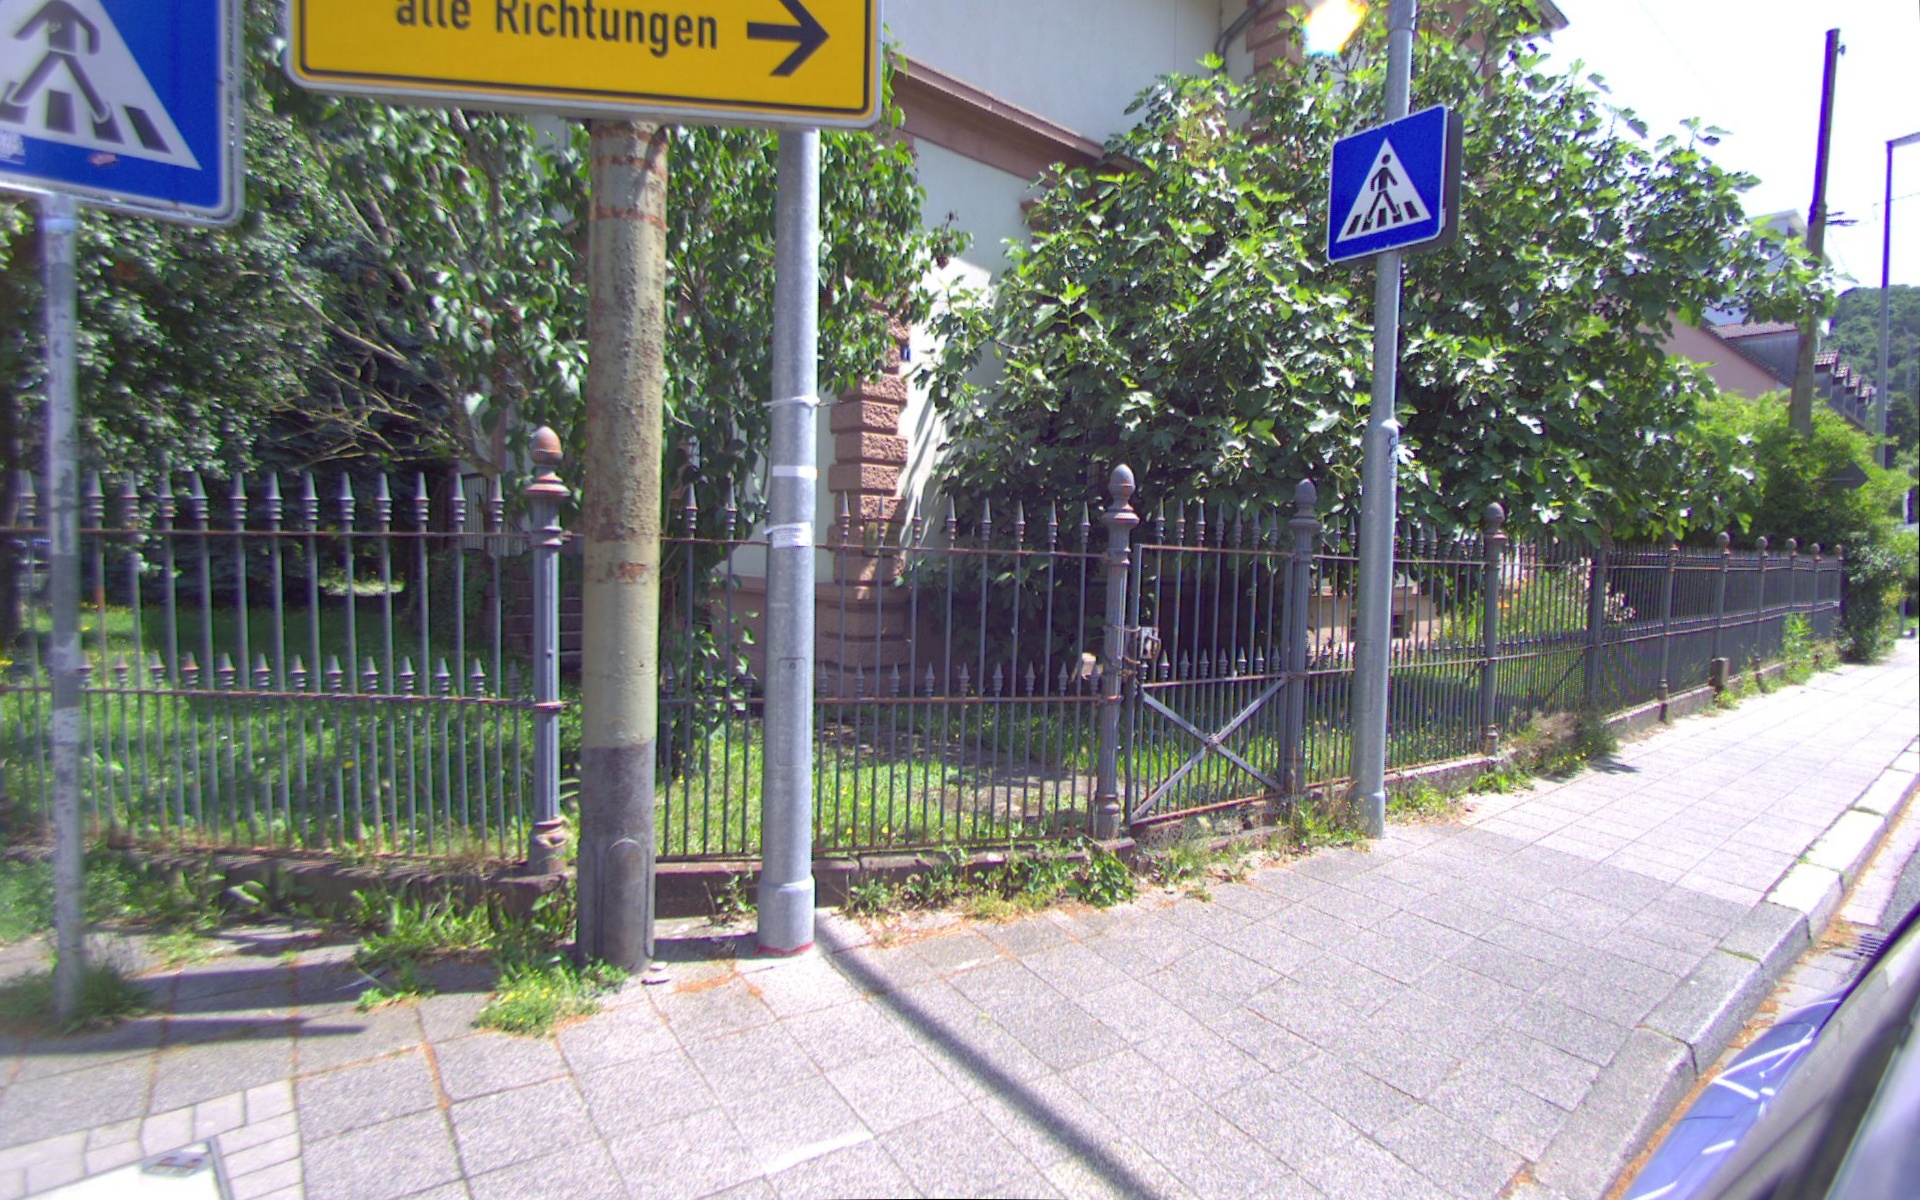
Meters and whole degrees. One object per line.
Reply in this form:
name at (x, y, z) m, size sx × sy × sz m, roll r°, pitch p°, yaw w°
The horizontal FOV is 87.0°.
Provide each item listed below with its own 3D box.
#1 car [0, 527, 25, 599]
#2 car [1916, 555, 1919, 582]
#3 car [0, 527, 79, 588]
car at (-21.421, -0.836, 21.390) m, size 1.575 × 1.571 × 3.734 m, roll 4°, pitch -1°, yaw -31°
car at (65.672, -2.073, 66.358) m, size 1.788 × 1.811 × 4.293 m, roll -2°, pitch 2°, yaw -2°
car at (-23.879, -1.050, 25.666) m, size 1.575 × 1.458 × 3.734 m, roll -3°, pitch 3°, yaw -30°
